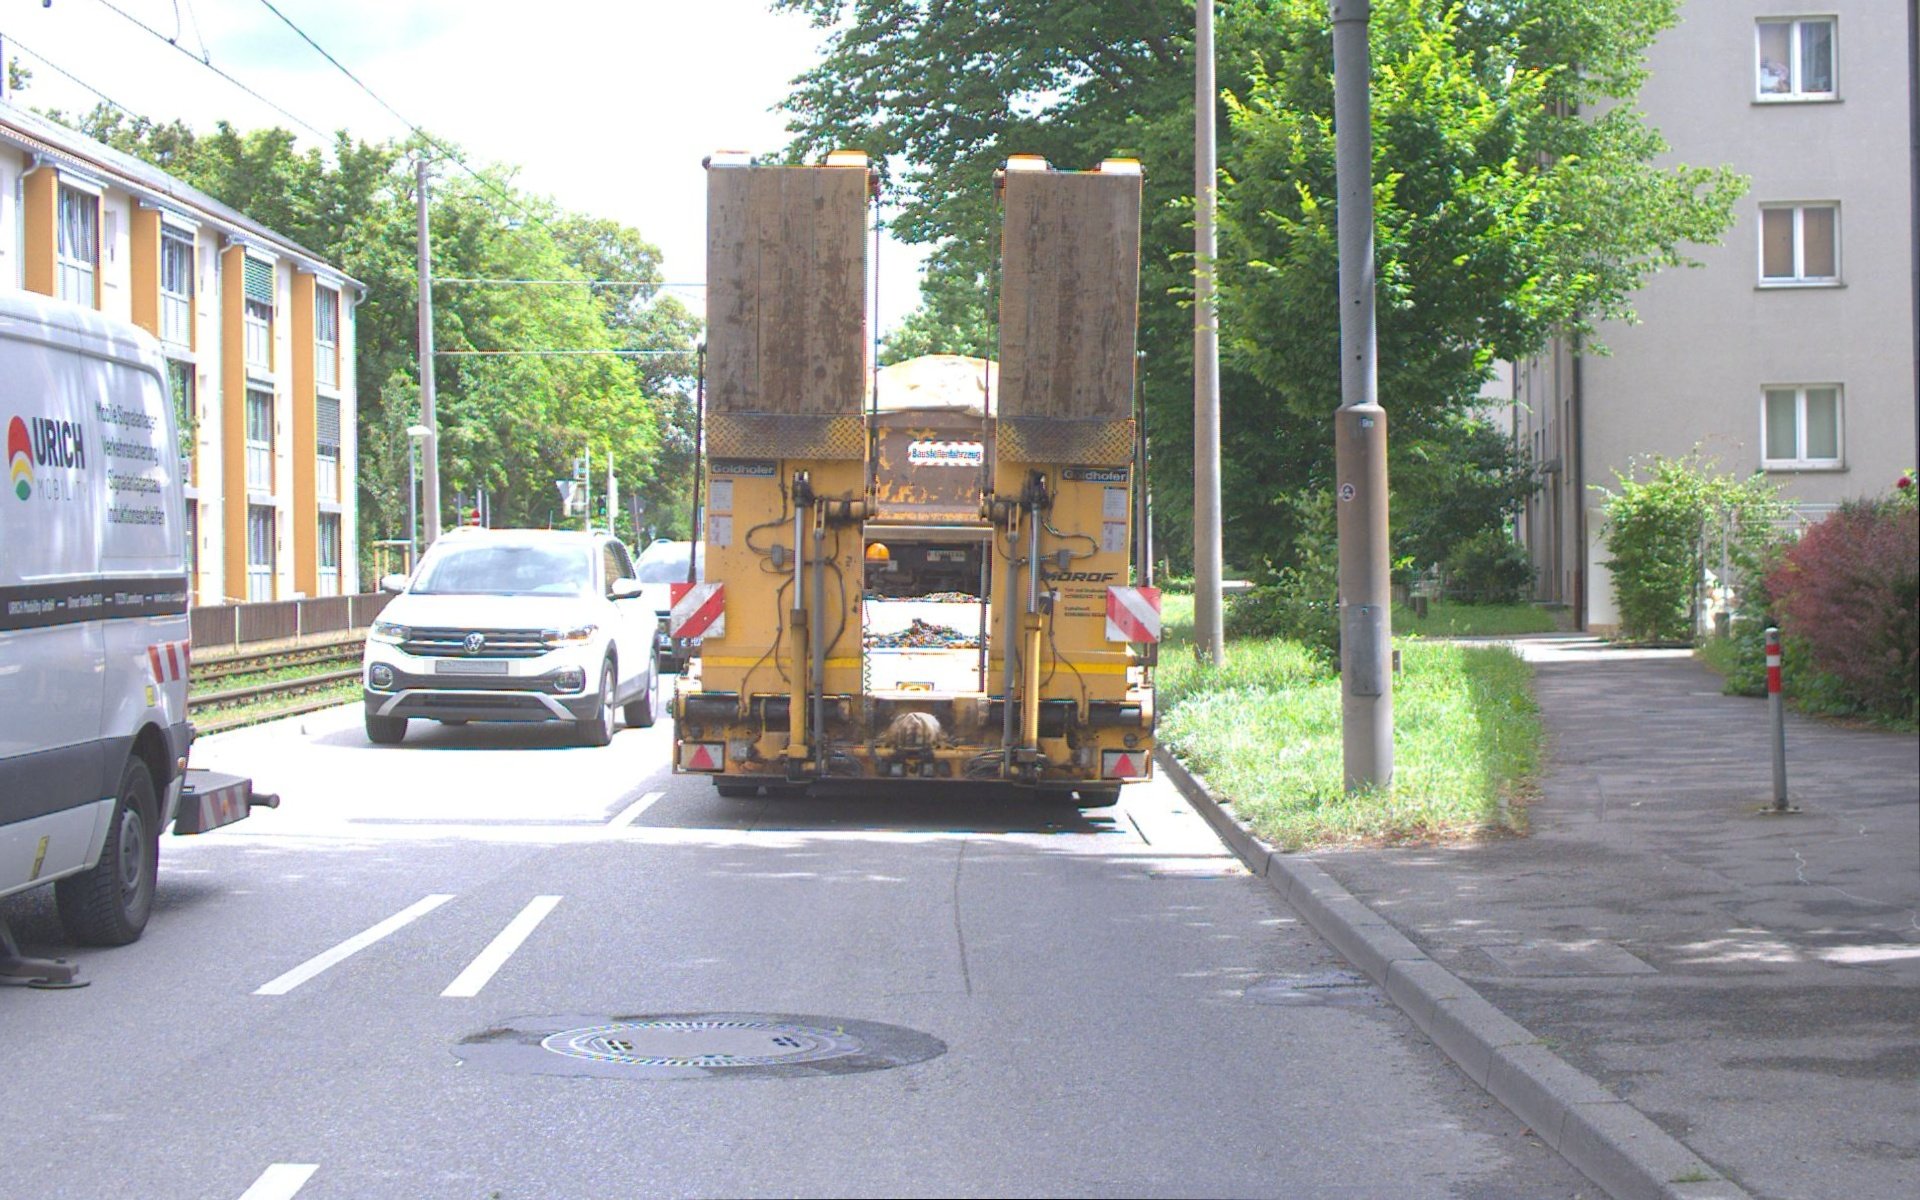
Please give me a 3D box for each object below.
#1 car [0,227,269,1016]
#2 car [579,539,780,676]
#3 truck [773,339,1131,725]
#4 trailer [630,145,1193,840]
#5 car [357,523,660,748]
[{"bbox_3d":[-3.935,0.046,11.319,1.993,2.422,6.322,1,1,0],"label":"car"},{"bbox_3d":[-3.220,0.044,40.322,1.879,1.476,4.528,1,1,1],"label":"car"},{"bbox_3d":[-0.063,-0.642,32.510,2.917,3.156,7.680,1,1,0],"label":"truck"},{"bbox_3d":[-0.174,-0.649,23.165,2.823,3.512,11.052,1,1,1],"label":"trailer"},{"bbox_3d":[-3.321,0.217,25.921,1.718,1.547,3.917,1,1,1],"label":"car"}]
